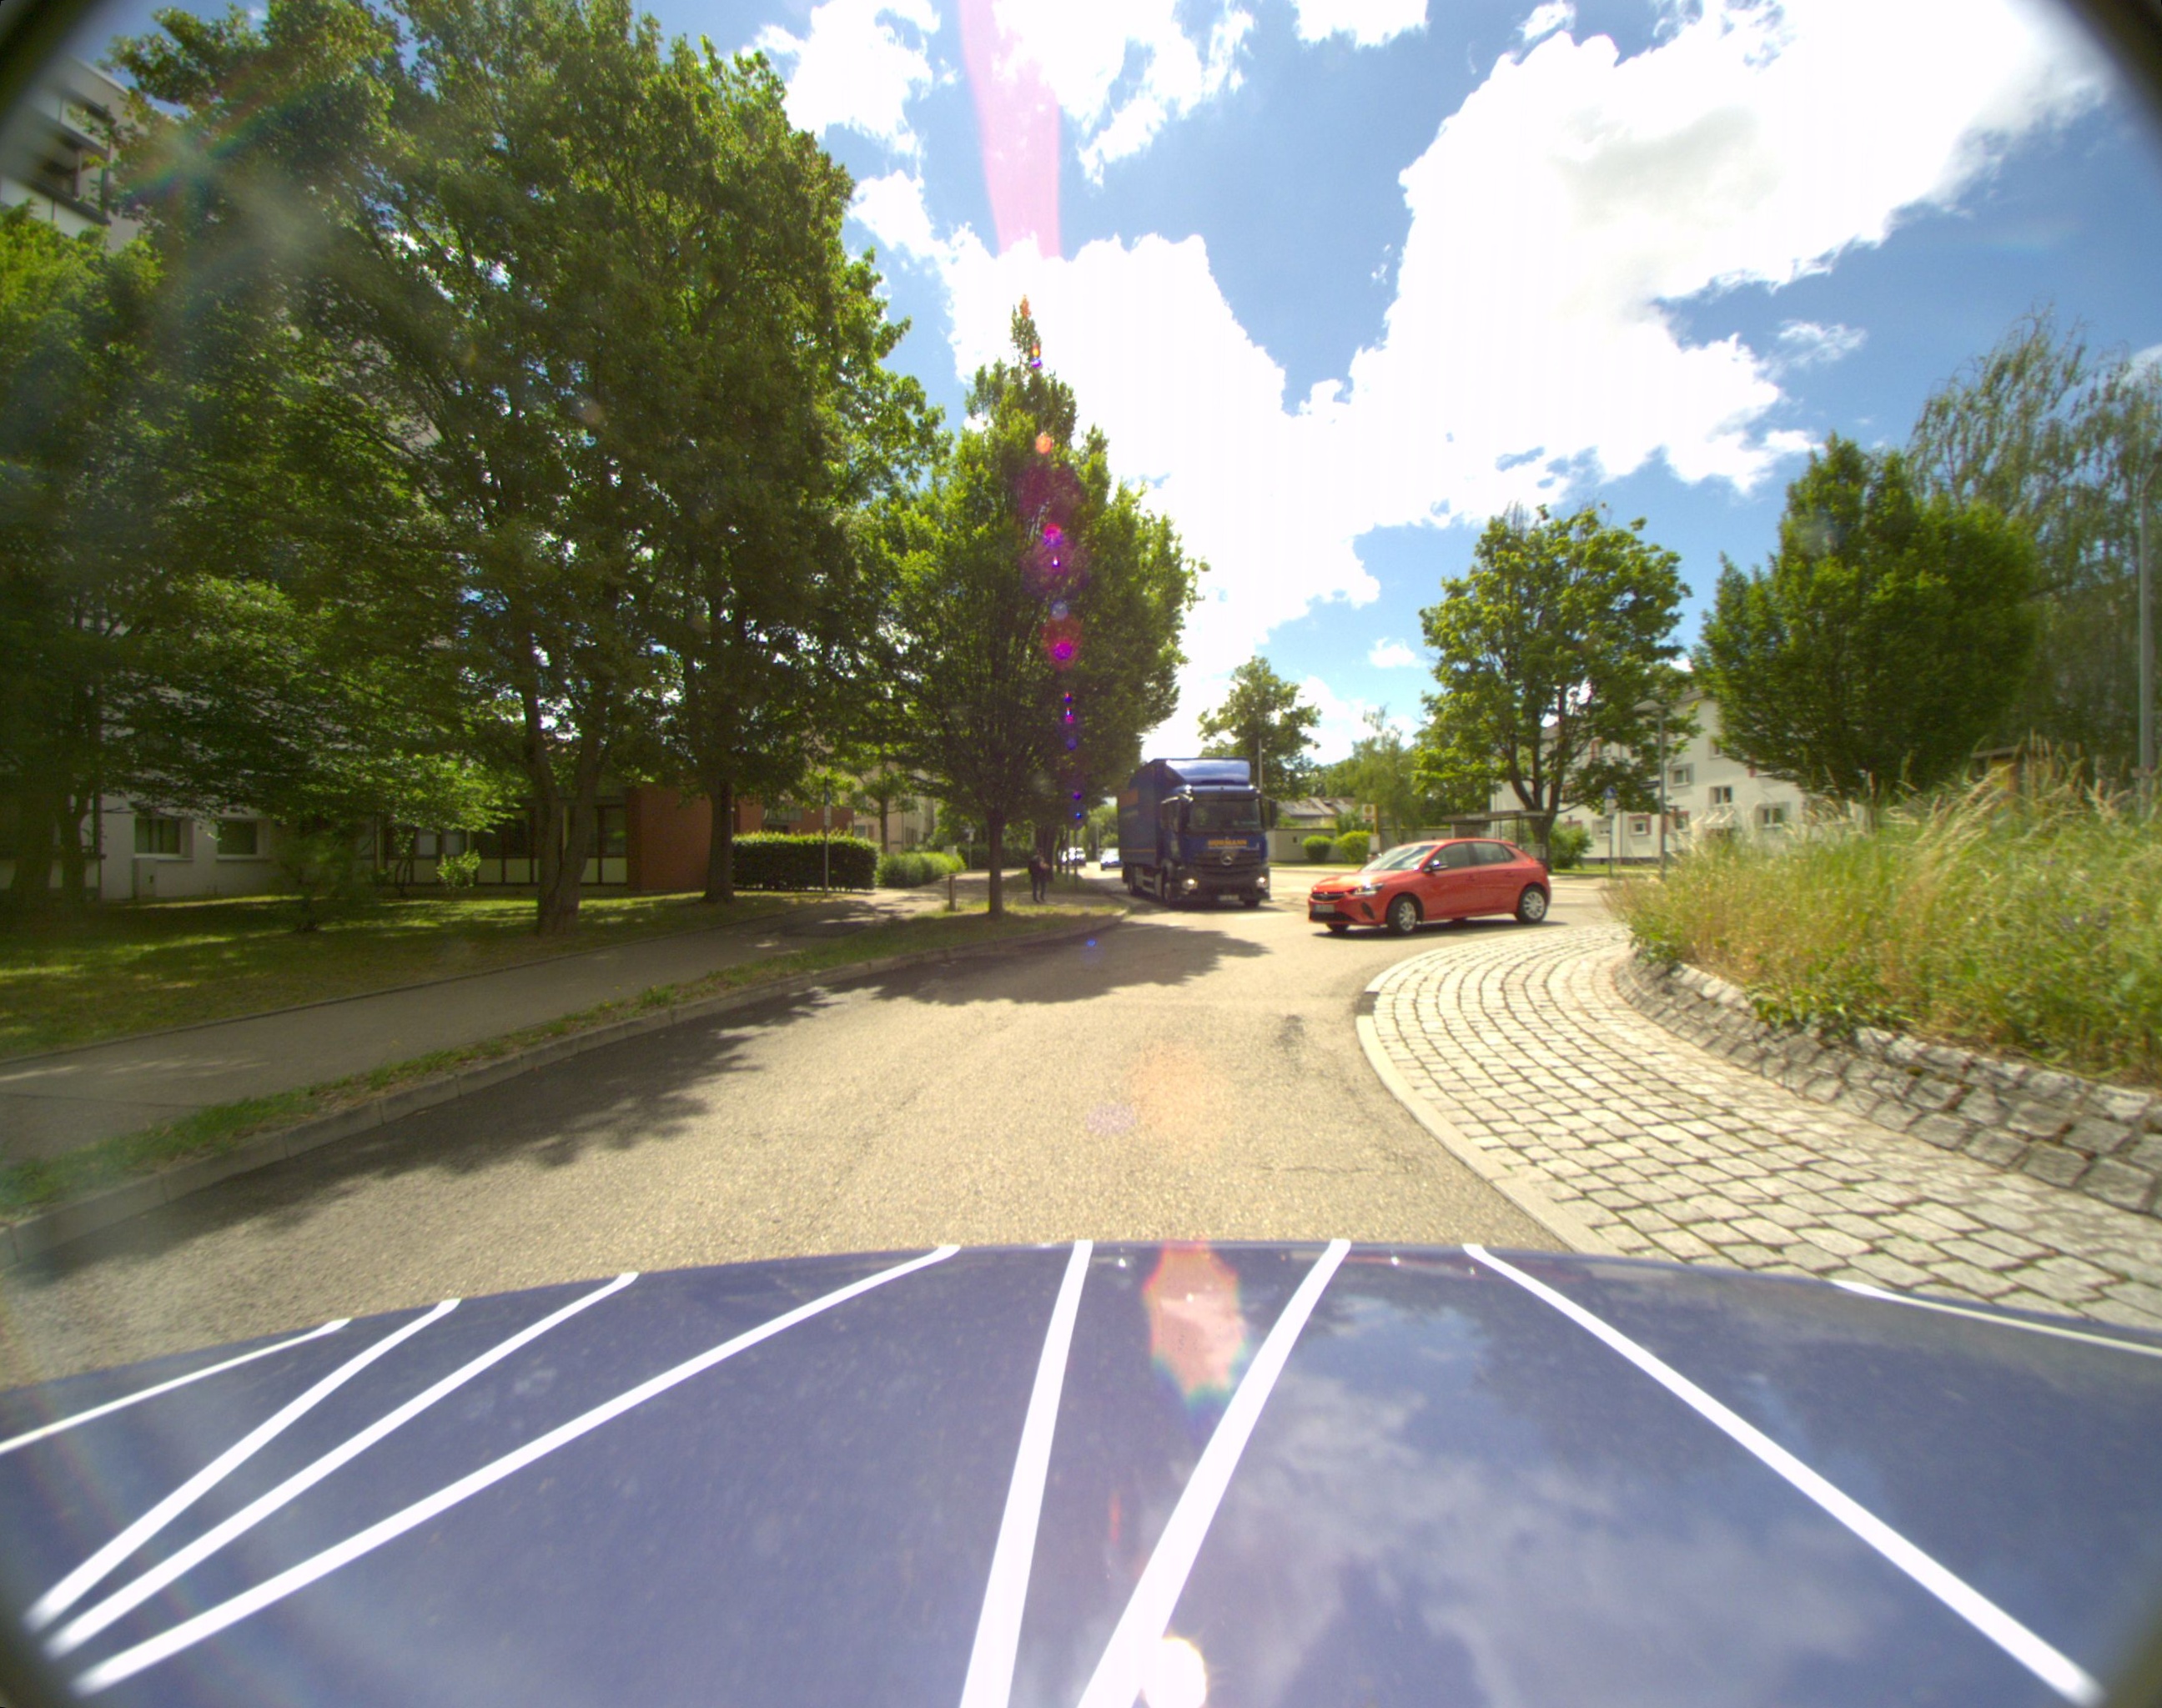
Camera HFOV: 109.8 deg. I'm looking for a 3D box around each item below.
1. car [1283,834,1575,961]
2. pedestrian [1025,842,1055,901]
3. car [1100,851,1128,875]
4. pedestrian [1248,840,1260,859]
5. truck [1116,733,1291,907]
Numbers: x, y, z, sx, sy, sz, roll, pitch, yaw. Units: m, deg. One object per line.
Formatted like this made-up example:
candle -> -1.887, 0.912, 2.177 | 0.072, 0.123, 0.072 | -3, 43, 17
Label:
car -> 5.596, 0.642, 12.372 | 4.001, 1.548, 1.765 | -5, 0, -14
pedestrian -> -1.130, 0.482, 21.137 | 0.720, 1.571, 0.841 | -1, 3, 4
car -> 2.370, 0.712, 55.822 | 1.998, 1.666, 4.001 | 0, -2, 1
pedestrian -> 14.566, -0.363, 64.114 | 0.902, 1.572, 0.660 | 0, 1, 3
truck -> 3.170, -0.746, 23.024 | 2.789, 4.128, 9.793 | -1, -1, -6
